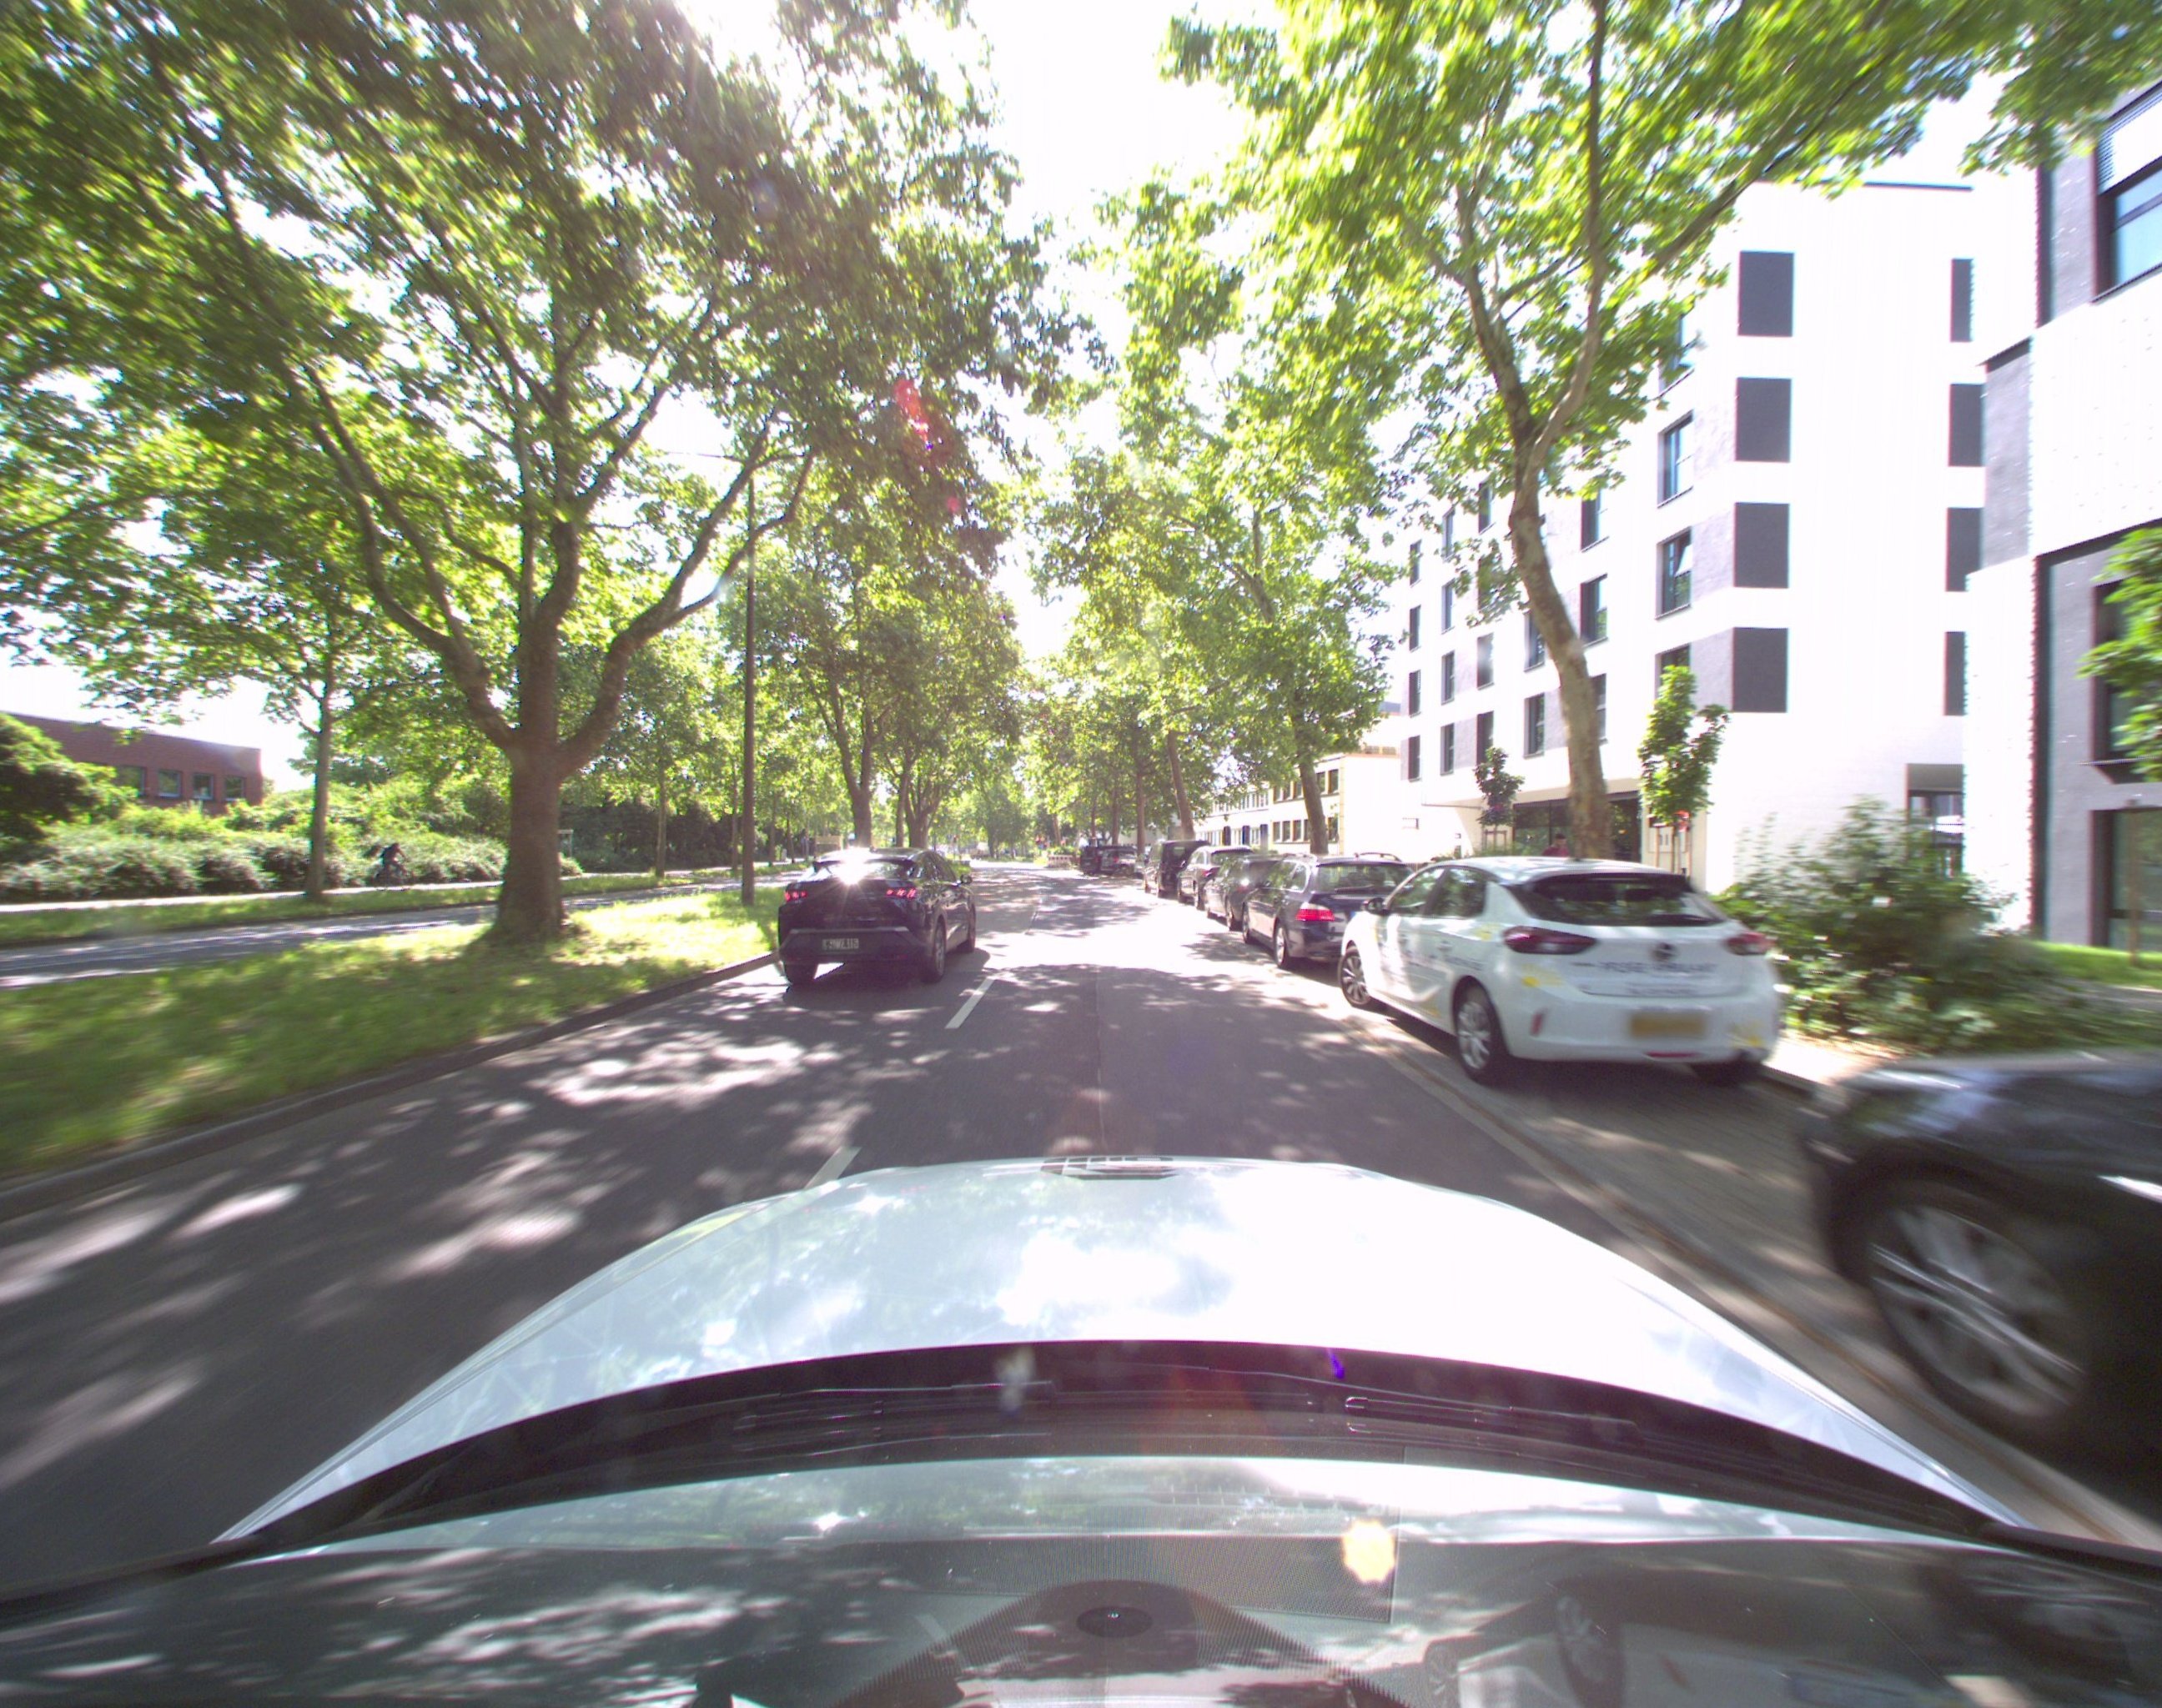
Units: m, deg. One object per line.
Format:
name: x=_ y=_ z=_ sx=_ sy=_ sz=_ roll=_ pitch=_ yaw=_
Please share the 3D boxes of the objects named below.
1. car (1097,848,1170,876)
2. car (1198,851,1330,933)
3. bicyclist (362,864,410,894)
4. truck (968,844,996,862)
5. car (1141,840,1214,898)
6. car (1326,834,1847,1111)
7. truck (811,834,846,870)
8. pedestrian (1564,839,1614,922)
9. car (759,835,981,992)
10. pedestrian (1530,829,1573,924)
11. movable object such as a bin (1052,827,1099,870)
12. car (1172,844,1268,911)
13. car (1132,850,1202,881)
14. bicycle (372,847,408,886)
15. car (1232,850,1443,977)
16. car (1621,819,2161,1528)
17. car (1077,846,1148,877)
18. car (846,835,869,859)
car: x=3.168 y=0.452 z=49.207 sx=4.112 sy=1.633 sz=1.701 roll=0 pitch=0 yaw=-19
car: x=3.623 y=0.677 z=16.917 sx=1.701 sy=1.487 sz=4.483 roll=0 pitch=0 yaw=0
bicyclist: x=-24.921 y=0.883 z=29.225 sx=0.427 sy=1.013 sz=1.425 roll=0 pitch=0 yaw=2
truck: x=-19.997 y=-0.231 z=164.479 sx=5.517 sy=3.678 sz=1.997 roll=0 pitch=0 yaw=-5
car: x=3.203 y=0.462 z=27.953 sx=1.703 sy=1.841 sz=4.721 roll=0 pitch=0 yaw=-3
car: x=3.340 y=0.633 z=6.451 sx=1.700 sy=1.487 sz=4.102 roll=0 pitch=0 yaw=2
truck: x=-25.348 y=-0.245 z=81.924 sx=2.451 sy=3.449 sz=7.072 roll=2 pitch=1 yaw=-11
pedestrian: x=9.869 y=0.498 z=15.830 sx=0.611 sy=1.581 sz=0.570 roll=0 pitch=0 yaw=1
car: x=-2.616 y=0.659 z=11.289 sx=1.866 sy=1.696 sz=4.435 roll=-1 pitch=0 yaw=0
pedestrian: x=9.116 y=0.428 z=15.790 sx=0.474 sy=1.808 sz=0.637 roll=0 pitch=0 yaw=1
movable object such as a bin: x=-0.453 y=-0.395 z=63.399 sx=2.341 sy=3.241 sz=3.399 roll=0 pitch=0 yaw=-28
car: x=3.733 y=0.575 z=22.633 sx=1.703 sy=1.669 sz=4.528 roll=0 pitch=0 yaw=-3
car: x=4.688 y=0.603 z=44.590 sx=3.548 sy=1.640 sz=1.655 roll=0 pitch=0 yaw=-6
bicycle: x=-24.912 y=0.428 z=29.368 sx=0.427 sy=1.385 sz=0.955 roll=0 pitch=0 yaw=2
car: x=3.367 y=0.671 z=11.652 sx=1.700 sy=1.455 sz=4.657 roll=0 pitch=0 yaw=2
car: x=3.138 y=0.661 z=0.992 sx=1.702 sy=1.487 sz=4.715 roll=-1 pitch=0 yaw=-2
car: x=1.969 y=0.438 z=51.104 sx=4.114 sy=1.880 sz=1.773 roll=0 pitch=0 yaw=-21
car: x=-34.163 y=-1.132 z=124.552 sx=2.450 sy=3.449 sz=7.077 roll=2 pitch=1 yaw=-9
